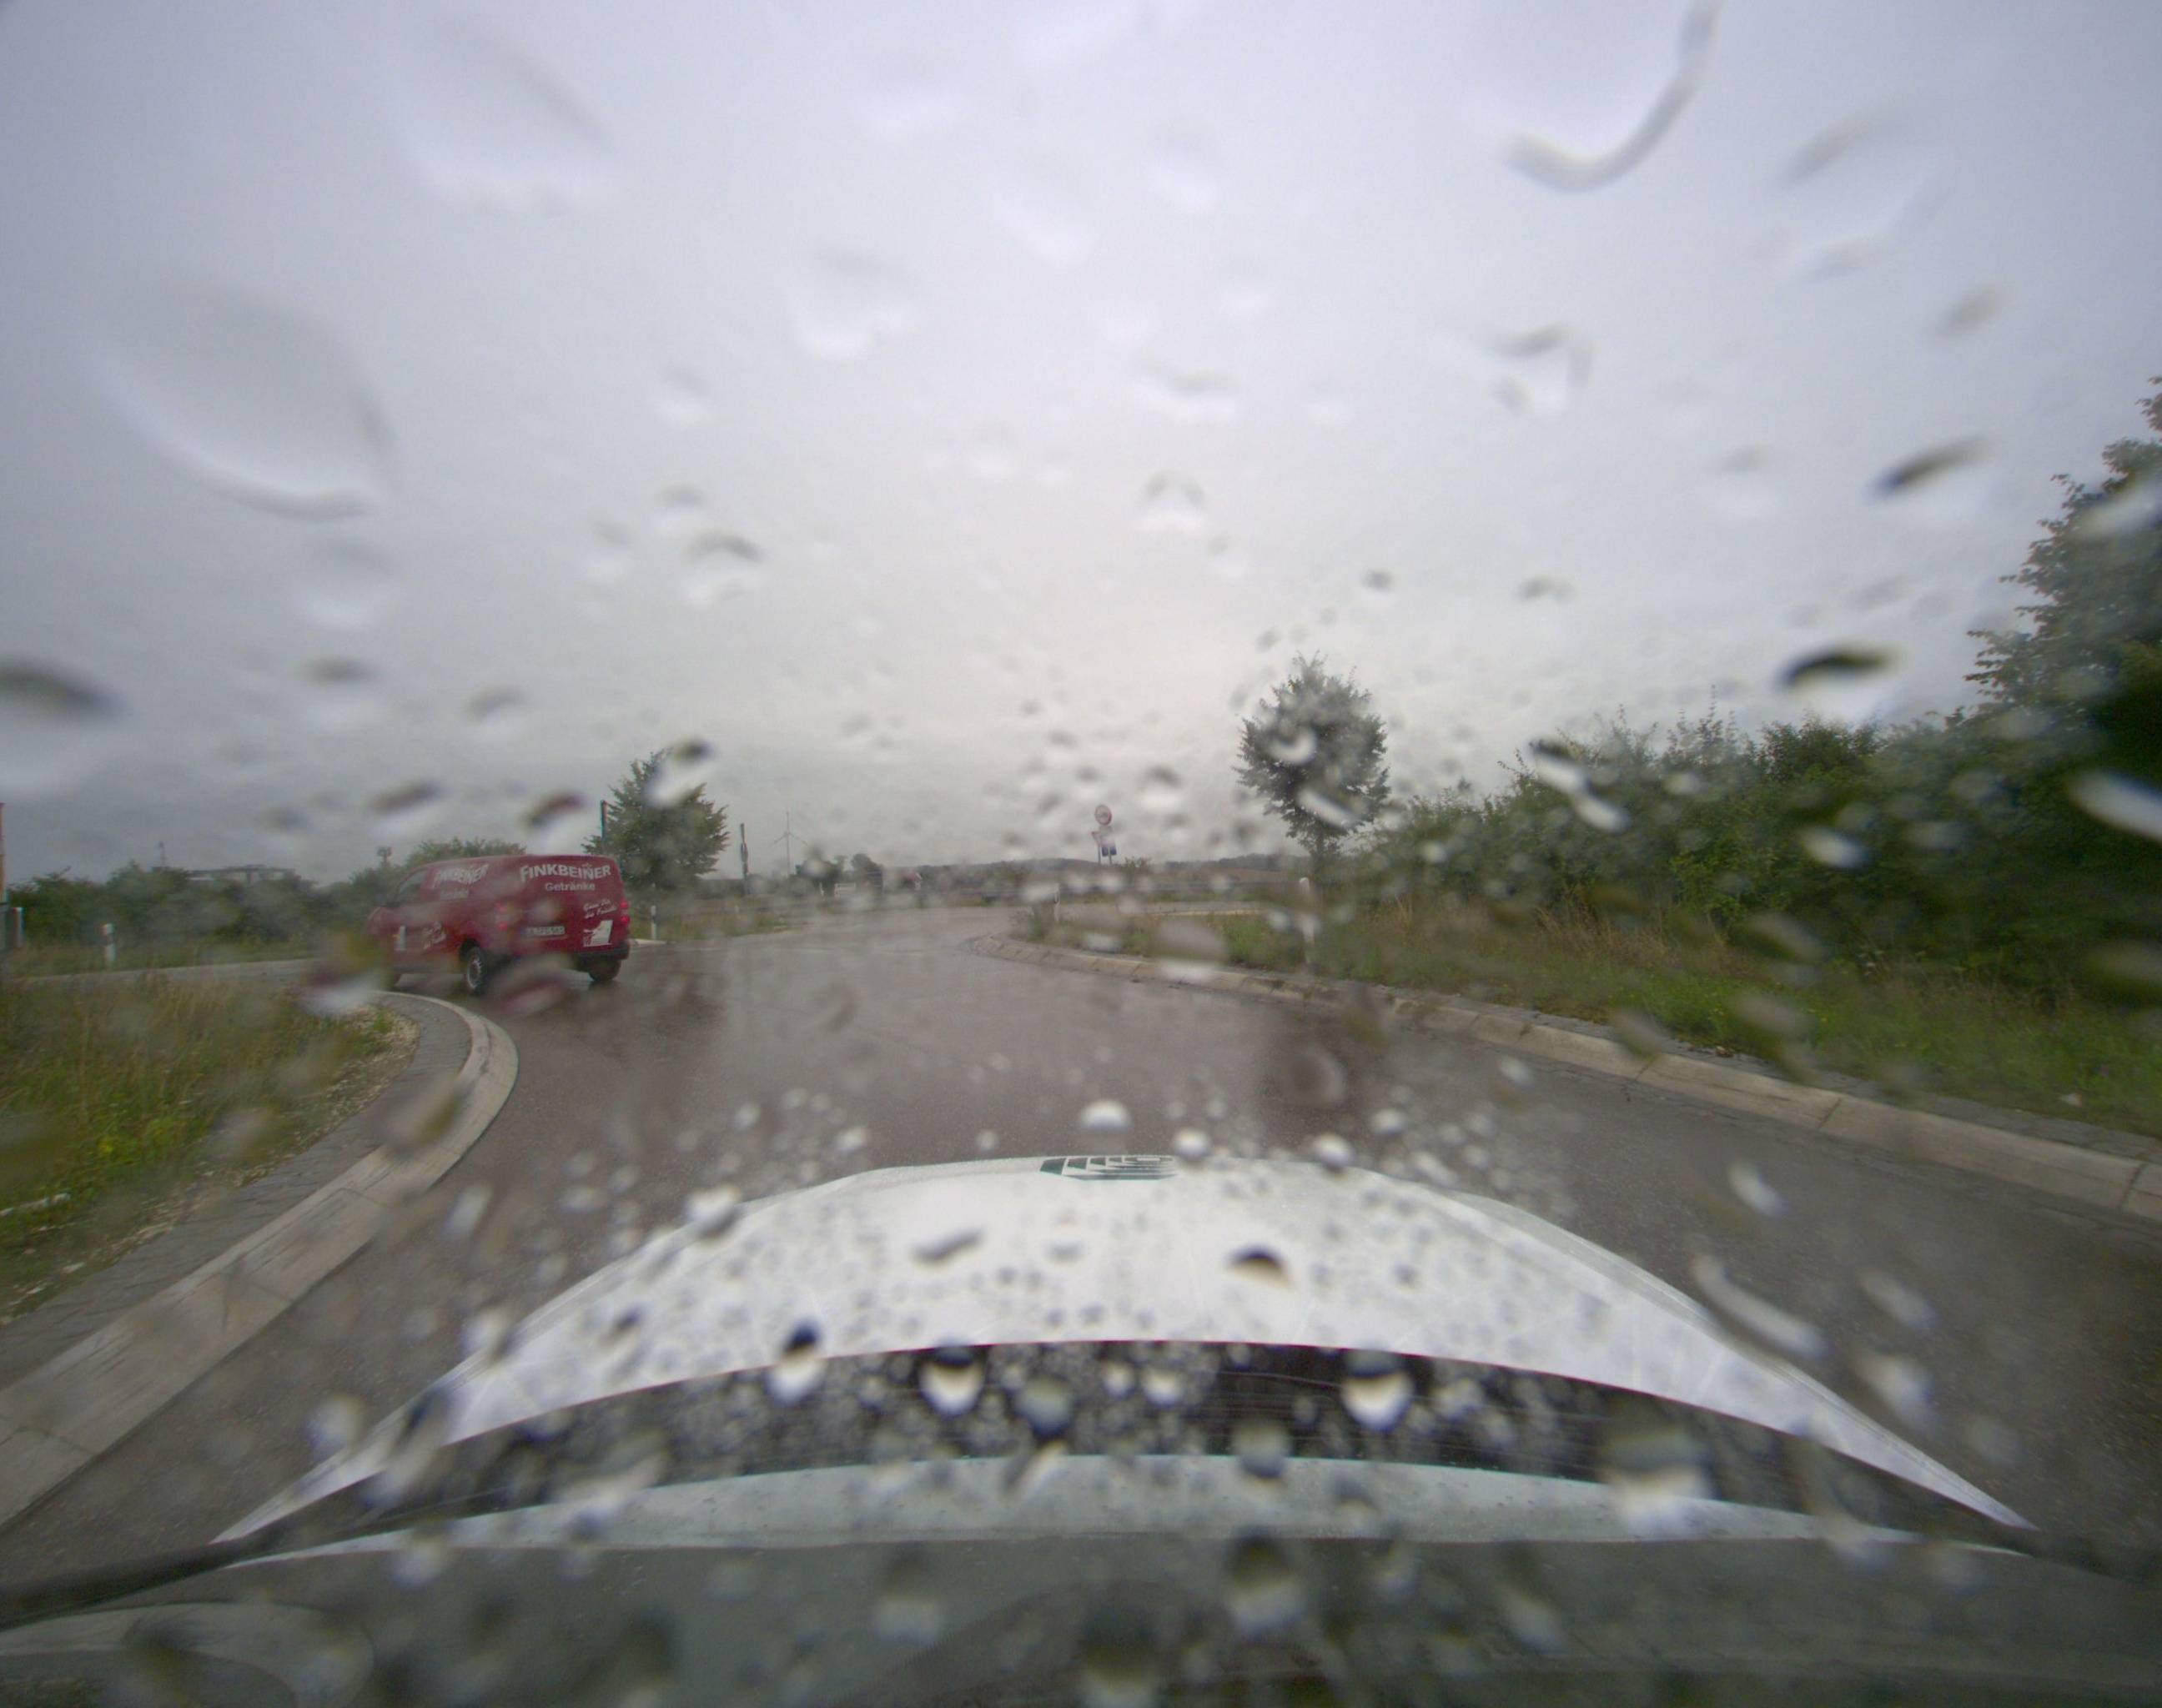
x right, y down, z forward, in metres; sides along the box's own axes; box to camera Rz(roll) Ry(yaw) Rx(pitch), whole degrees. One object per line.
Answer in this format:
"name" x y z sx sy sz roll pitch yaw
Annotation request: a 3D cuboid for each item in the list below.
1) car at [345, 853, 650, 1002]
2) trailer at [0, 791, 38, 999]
"car" -9.108 1.023 12.598 4.914 1.870 2.013 -2 0 31
"trailer" -24.532 0.952 13.470 9.673 3.819 2.834 -3 -1 -7
